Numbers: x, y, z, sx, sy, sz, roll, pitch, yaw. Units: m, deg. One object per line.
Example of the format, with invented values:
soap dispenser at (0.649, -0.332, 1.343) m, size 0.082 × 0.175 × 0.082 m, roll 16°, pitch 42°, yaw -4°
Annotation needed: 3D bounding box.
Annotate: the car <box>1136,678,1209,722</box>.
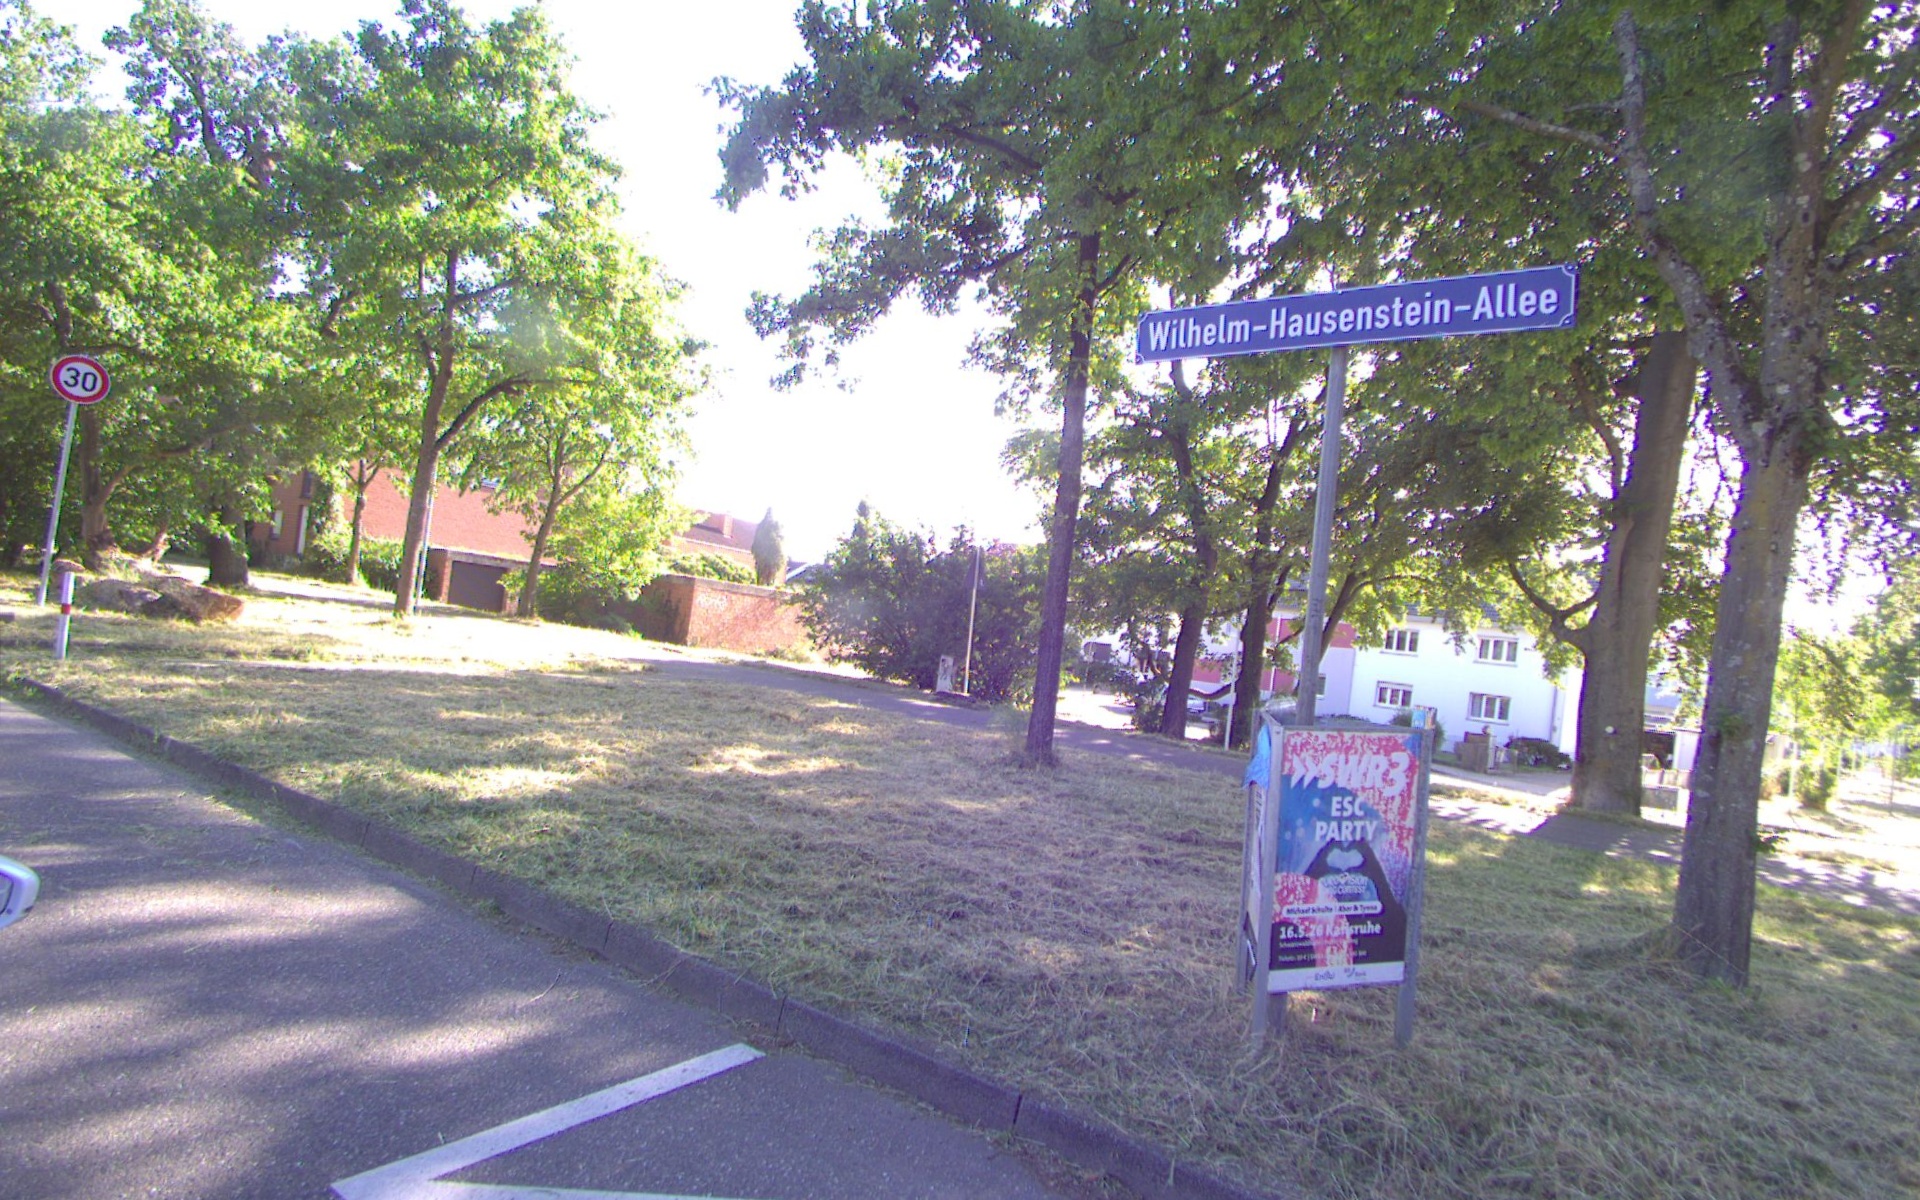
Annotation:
car at (10.092, 4.747, 47.959) m, size 1.514 × 1.569 × 3.160 m, roll 9°, pitch -2°, yaw -30°
